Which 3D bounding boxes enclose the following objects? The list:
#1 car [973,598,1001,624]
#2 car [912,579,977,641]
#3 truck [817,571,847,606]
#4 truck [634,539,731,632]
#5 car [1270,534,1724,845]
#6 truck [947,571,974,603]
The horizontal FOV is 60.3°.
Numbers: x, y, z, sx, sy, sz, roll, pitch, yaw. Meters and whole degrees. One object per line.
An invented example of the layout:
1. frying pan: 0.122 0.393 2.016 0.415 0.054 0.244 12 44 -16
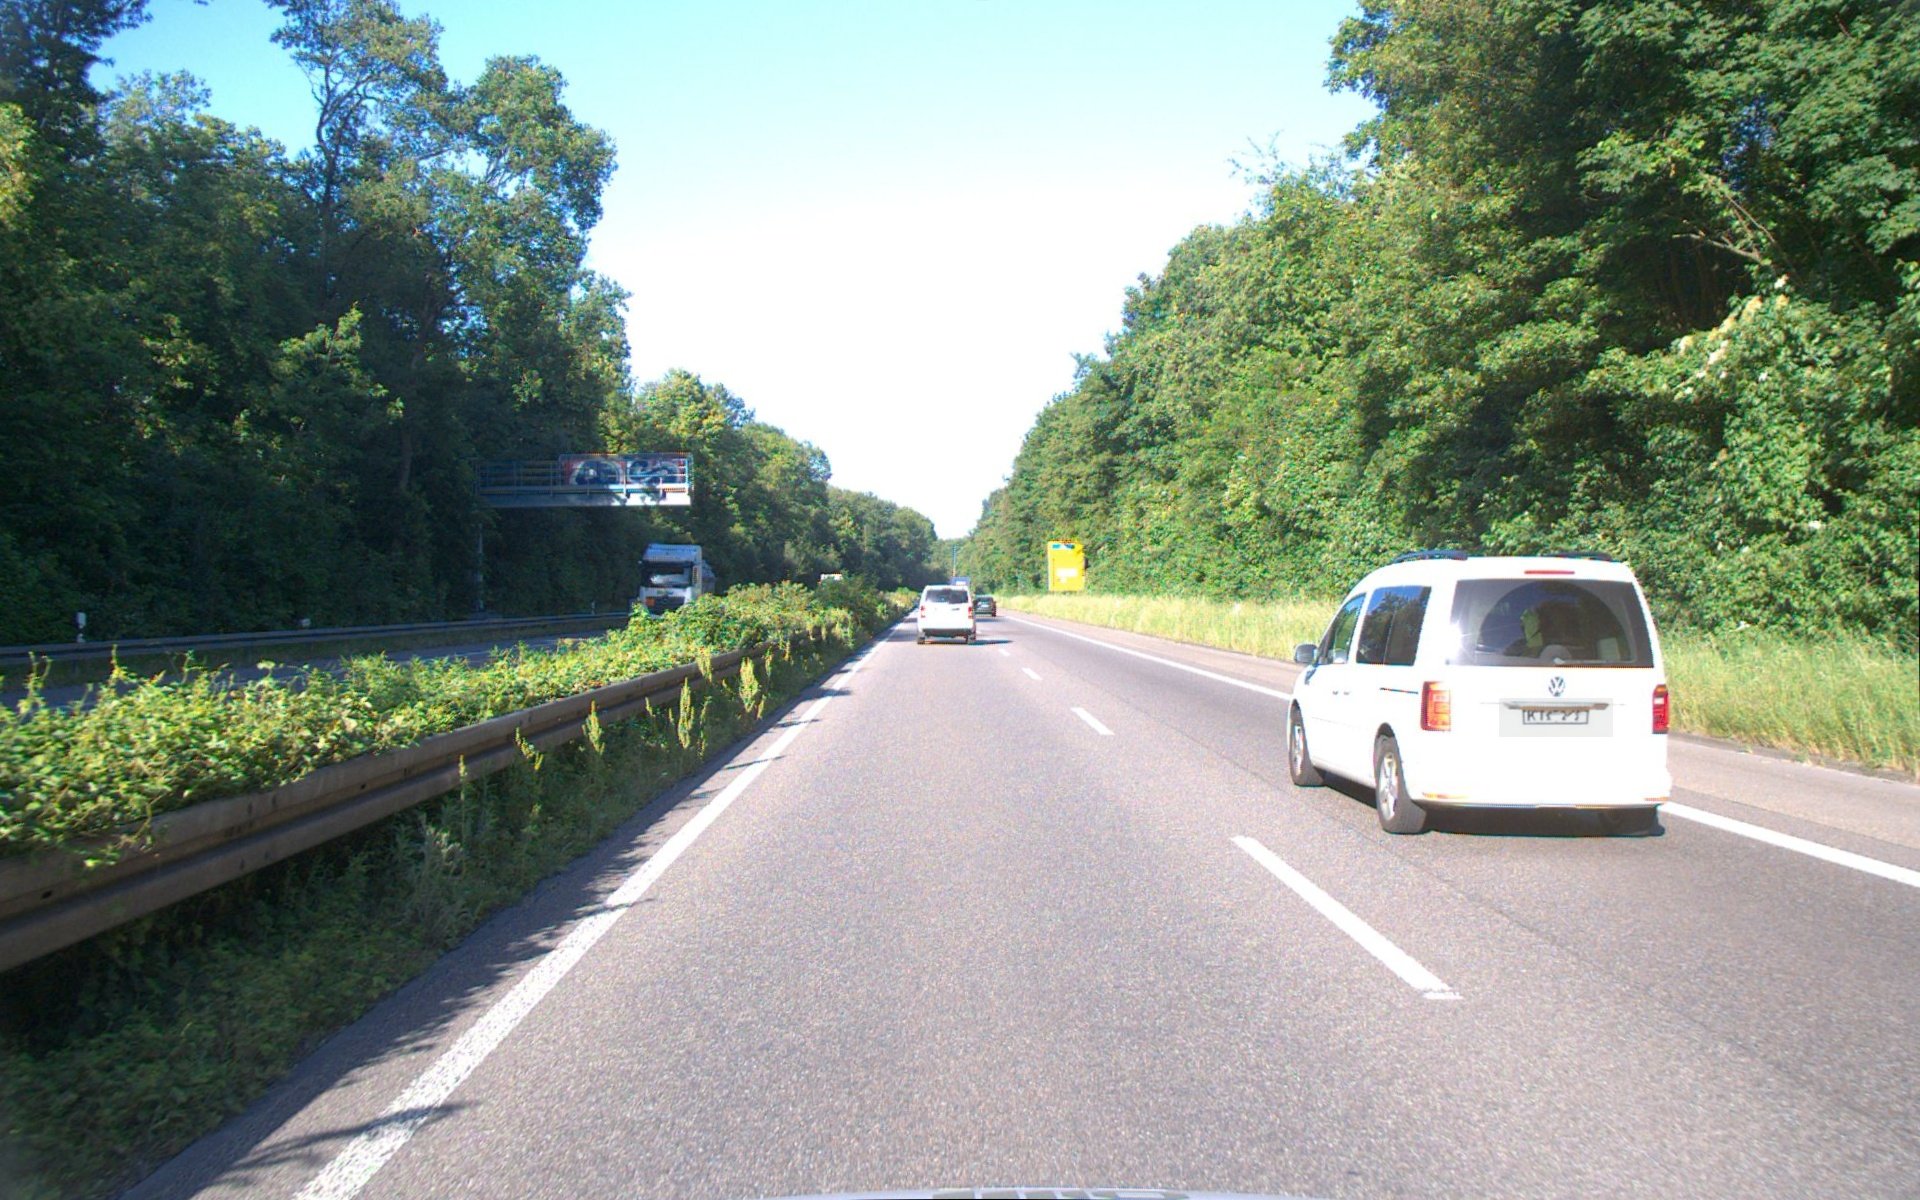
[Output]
1. car: 1.977 0.792 122.369 1.912 1.813 4.586 1 0 -1
2. car: -0.526 0.308 51.688 1.912 1.813 4.586 1 0 -1
3. truck: -15.079 -1.370 195.236 3.163 4.083 5.675 1 0 -1
4. truck: -12.941 -0.612 78.151 2.713 4.024 11.465 1 0 -1
5. car: 3.667 0.549 12.248 1.762 1.844 4.586 1 0 -1
6. truck: 0.069 -1.811 233.886 3.658 4.419 9.302 1 0 -1
